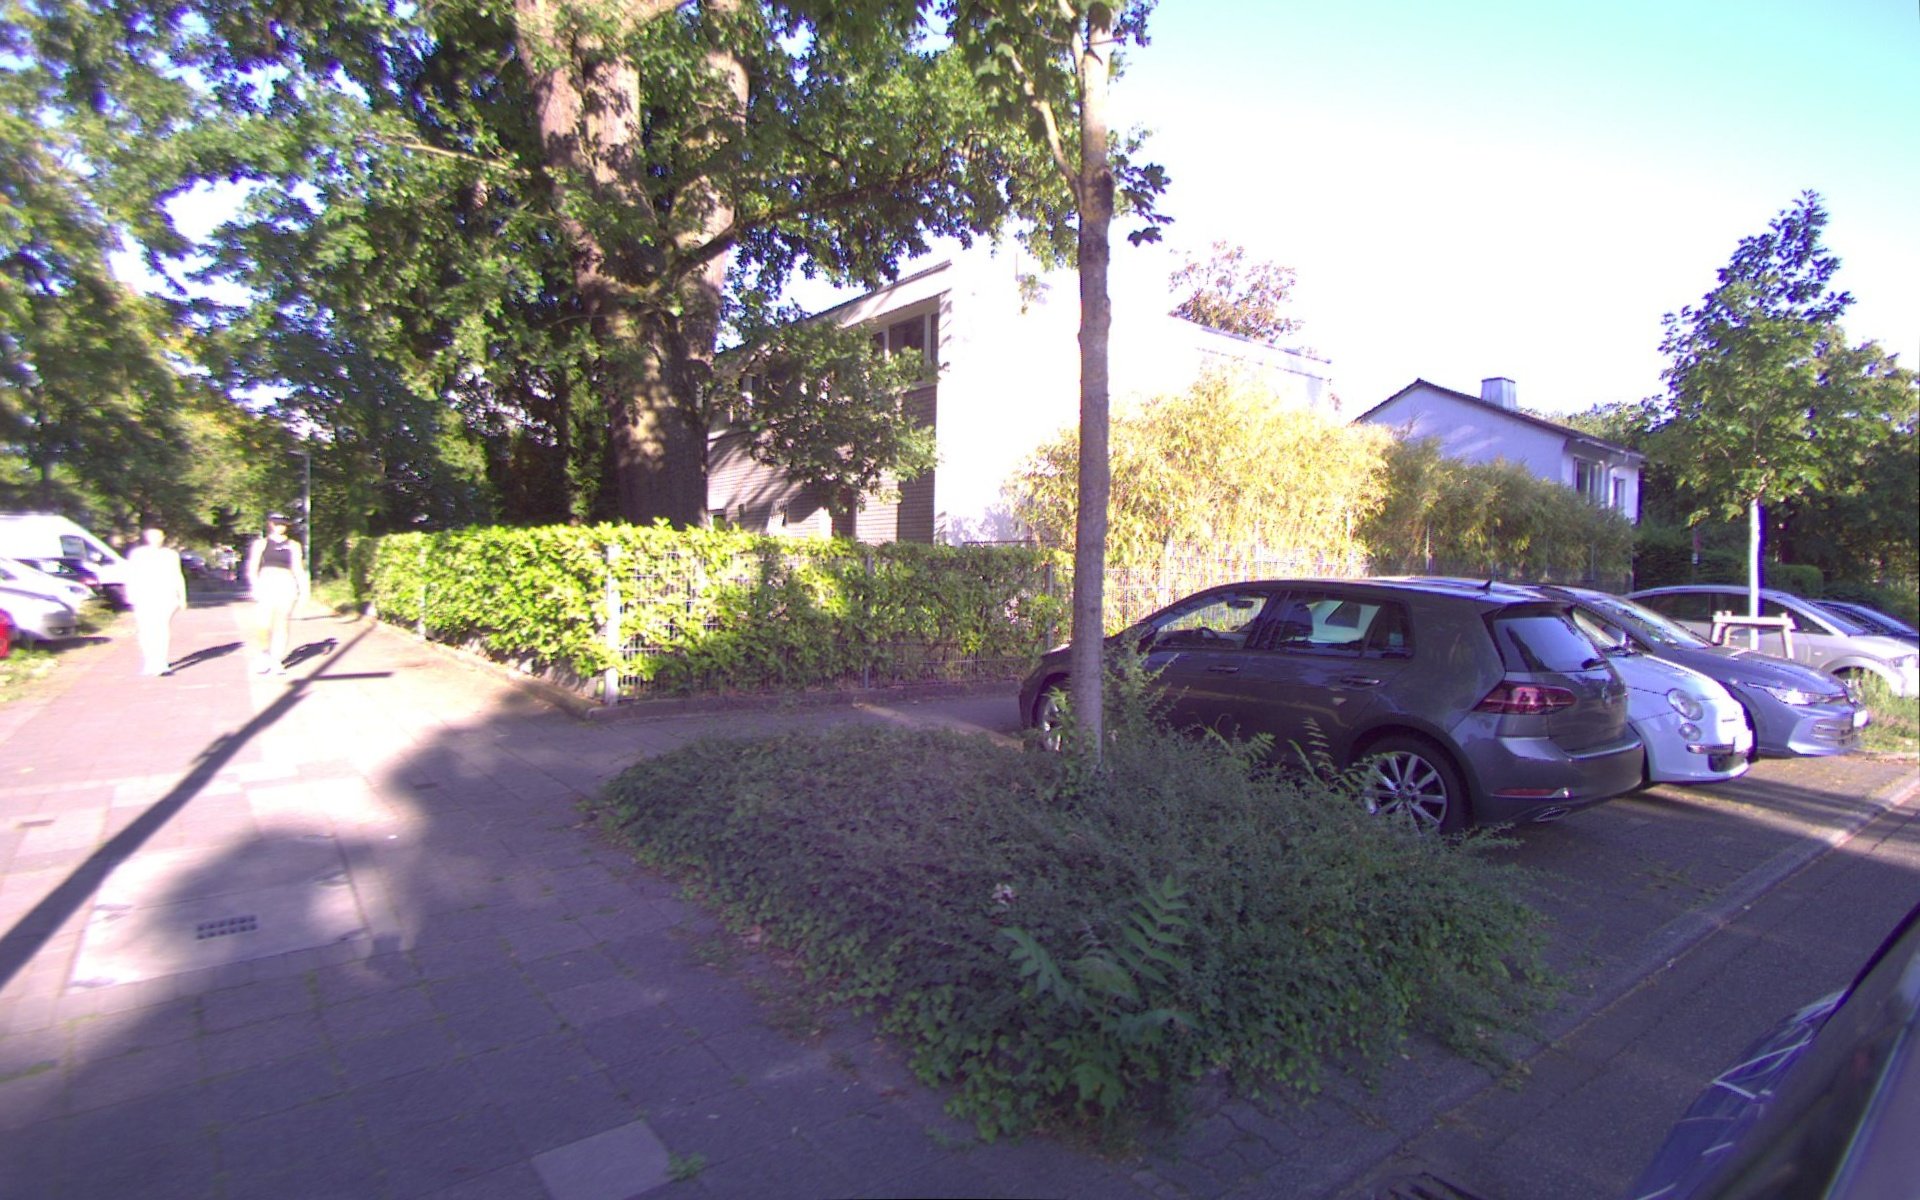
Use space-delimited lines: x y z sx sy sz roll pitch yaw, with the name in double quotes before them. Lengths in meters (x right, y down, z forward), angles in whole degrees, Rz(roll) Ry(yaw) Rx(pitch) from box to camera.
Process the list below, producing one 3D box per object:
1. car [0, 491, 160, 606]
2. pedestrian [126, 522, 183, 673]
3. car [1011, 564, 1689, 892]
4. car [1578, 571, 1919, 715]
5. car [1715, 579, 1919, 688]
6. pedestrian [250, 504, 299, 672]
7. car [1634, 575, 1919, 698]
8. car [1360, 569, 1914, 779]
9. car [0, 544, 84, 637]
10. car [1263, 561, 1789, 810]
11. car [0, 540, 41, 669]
"car" -23.386 -1.256 24.865 5.806 2.734 2.218 0 1 -40
"pedestrian" -8.830 -0.035 11.109 0.427 1.600 0.666 0 1 -33
"car" 2.272 0.531 6.817 1.616 1.535 3.997 -1 2 -39
"car" 10.763 0.470 13.502 1.714 1.556 3.920 0 3 -40
"car" 14.775 0.517 16.256 1.714 1.556 3.920 0 3 -40
"pedestrian" -7.588 -0.142 11.215 0.427 1.797 0.666 0 1 -33
"car" 12.753 0.475 15.293 1.714 1.556 3.920 0 3 -40
"car" 6.293 0.512 9.870 1.777 1.475 4.100 0 3 -36
"car" -16.196 -0.169 15.633 3.988 1.438 1.716 0 2 -40
"car" 4.406 0.494 8.241 1.609 1.509 3.353 0 3 -40
"car" -12.394 0.029 10.889 3.615 1.438 1.716 0 2 -40
